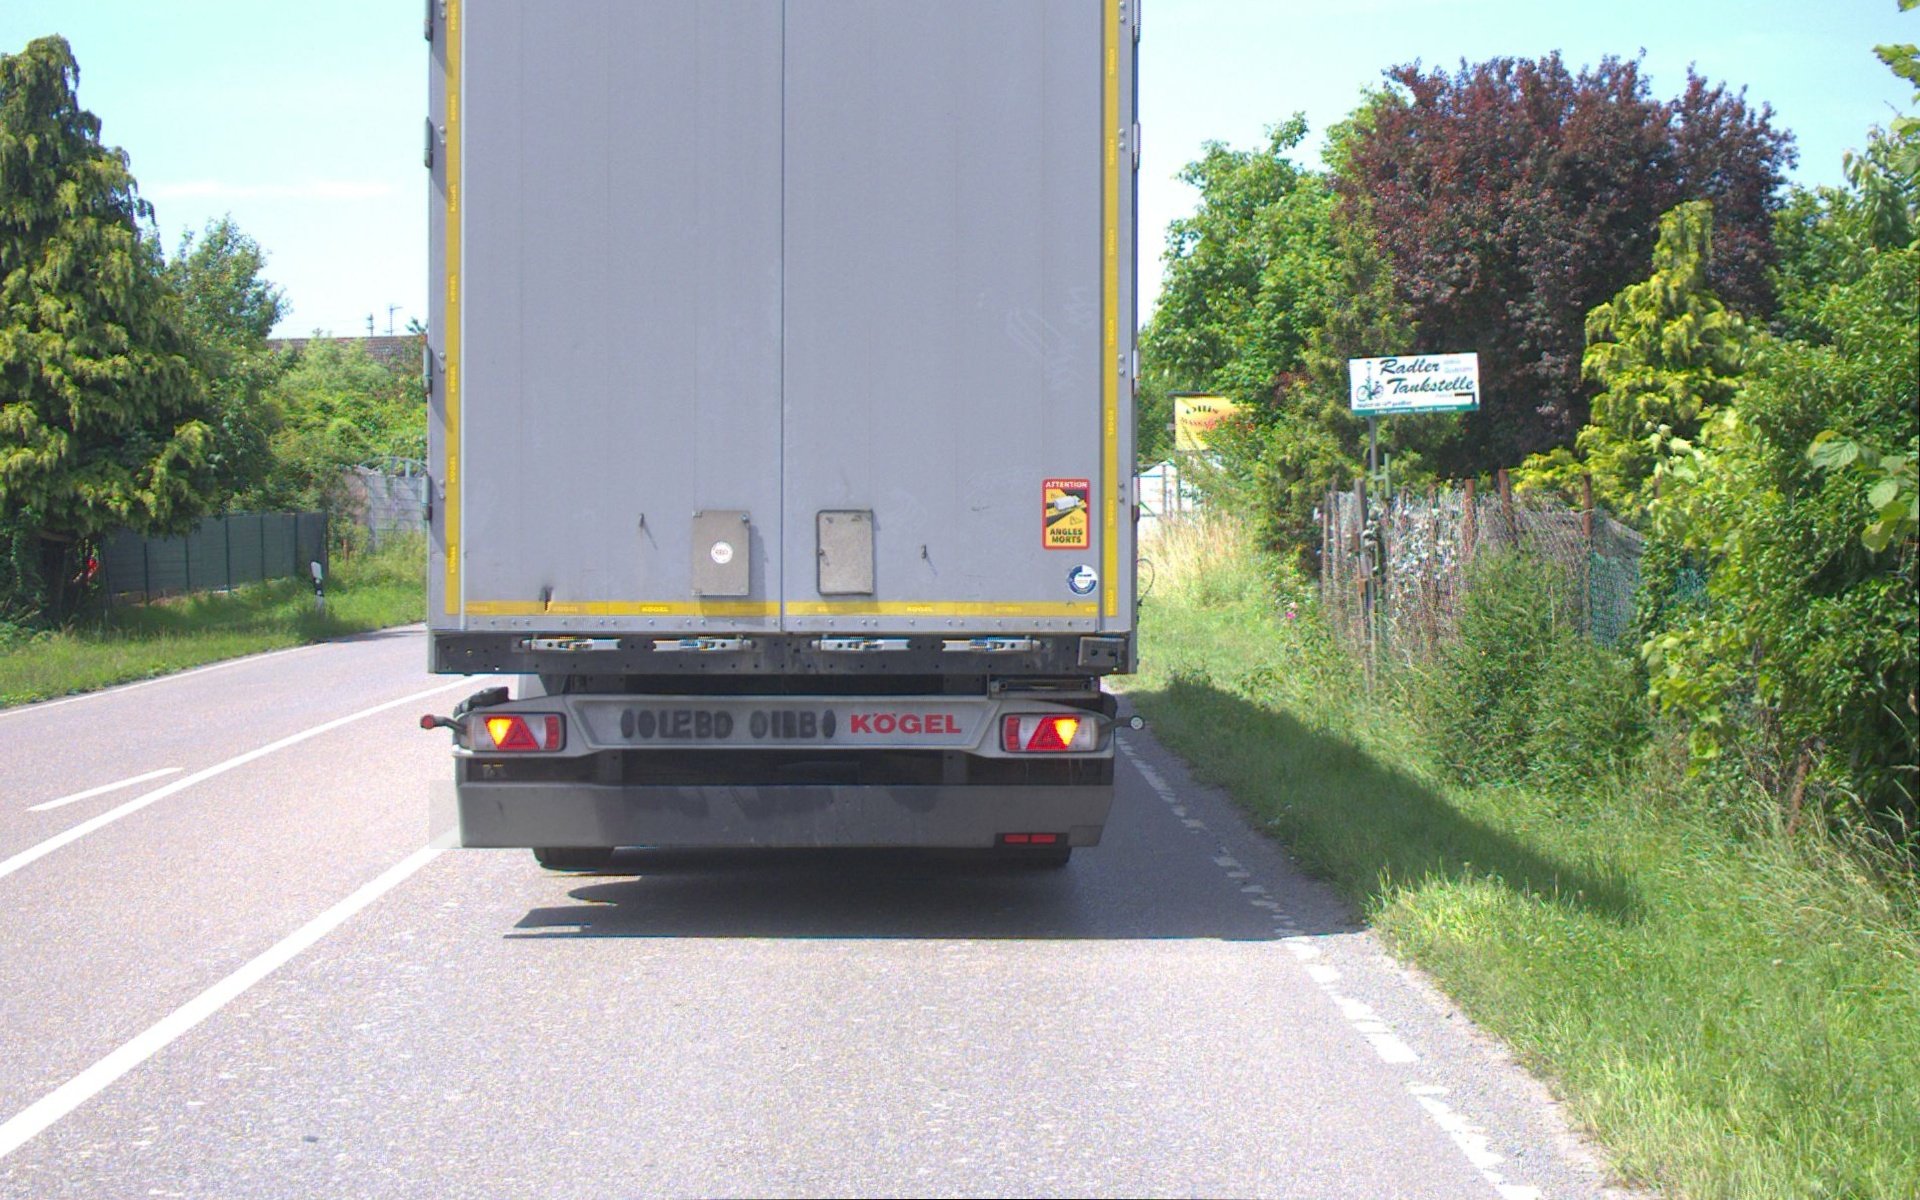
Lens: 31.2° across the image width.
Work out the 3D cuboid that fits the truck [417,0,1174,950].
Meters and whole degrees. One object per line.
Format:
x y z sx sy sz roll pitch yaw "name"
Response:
-0.738 -0.833 16.498 2.647 3.903 8.826 0 1 -2 "truck"
